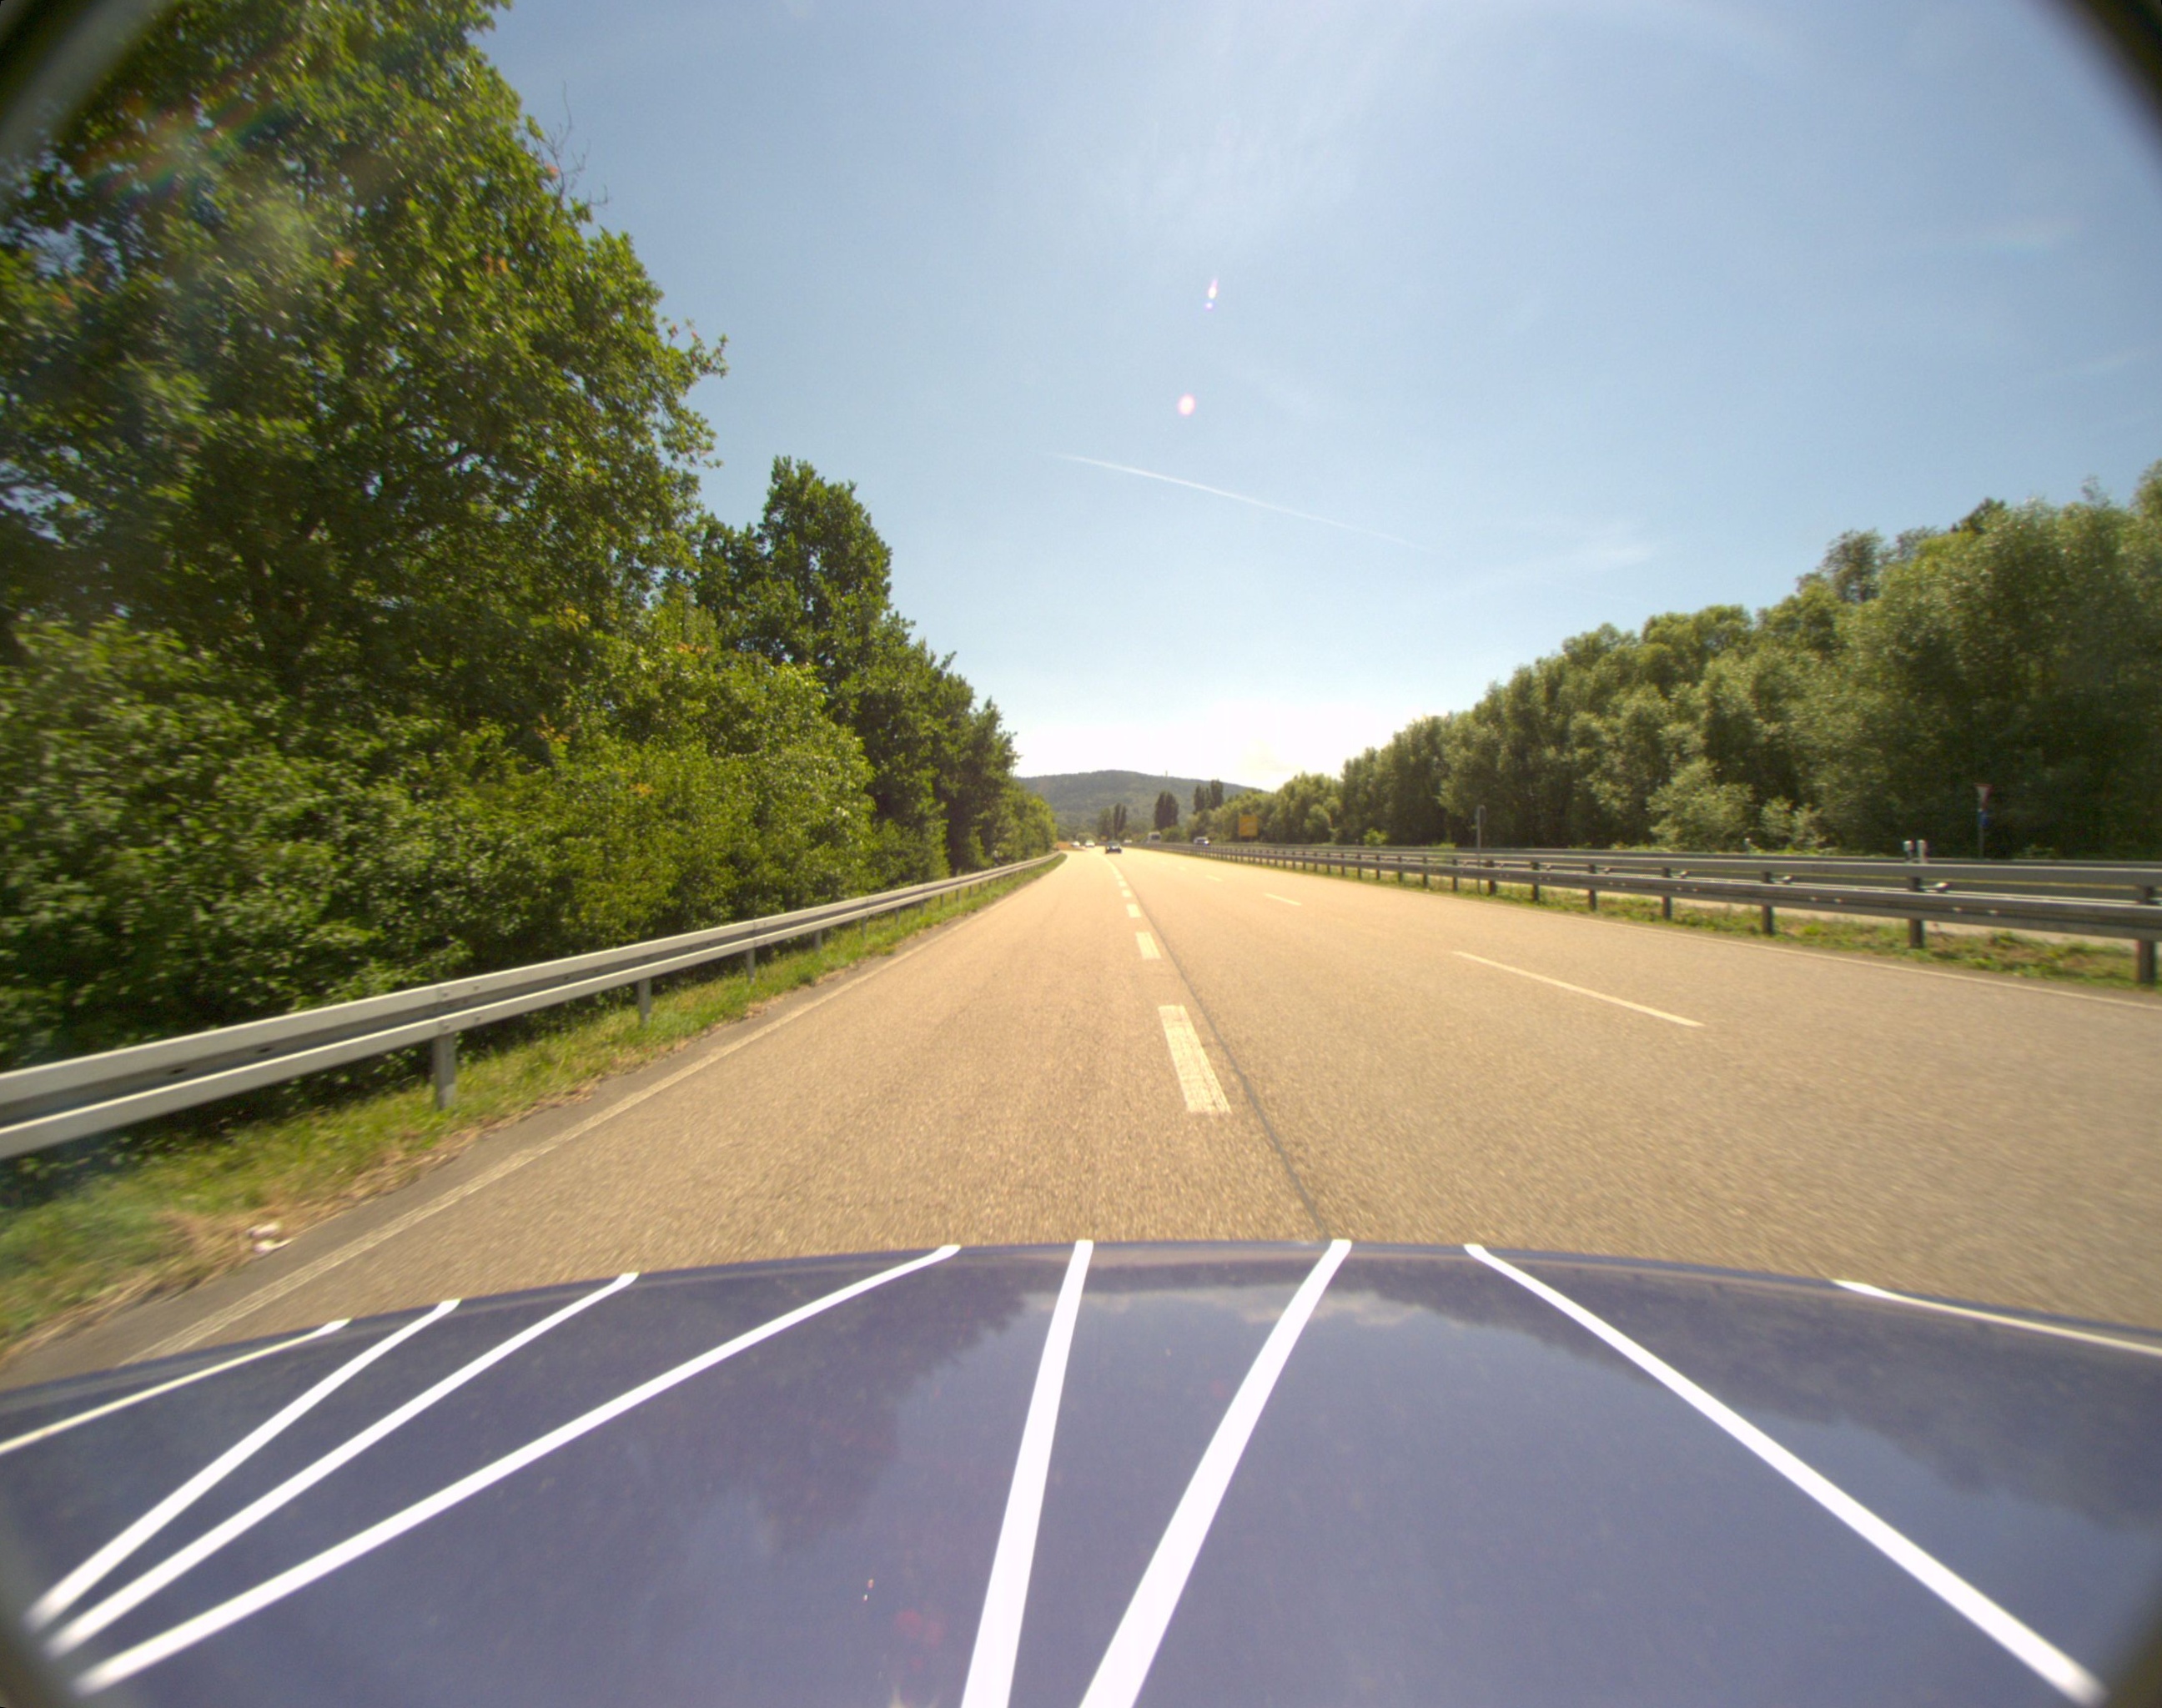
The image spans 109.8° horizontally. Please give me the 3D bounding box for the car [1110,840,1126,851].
[{"bbox_3d":[4.640,-1.070,95.843,1.908,1.368,3.890,-2,1,1],"label":"car"}]

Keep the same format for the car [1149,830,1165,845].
[{"bbox_3d":[13.645,-3.011,136.708,2.107,2.668,6.626,-2,1,1],"label":"car"}]

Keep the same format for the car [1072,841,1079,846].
[{"bbox_3d":[-1.461,-2.876,208.641,1.658,1.536,3.691,-2,1,3],"label":"car"}]

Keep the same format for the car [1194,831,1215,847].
[{"bbox_3d":[14.844,-1.772,91.680,1.867,1.820,4.659,-2,1,1],"label":"car"}]

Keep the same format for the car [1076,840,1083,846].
[{"bbox_3d":[-0.519,-3.346,227.146,1.658,1.536,3.691,-2,1,5],"label":"car"}]

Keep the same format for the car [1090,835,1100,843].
[{"bbox_3d":[2.926,-3.040,157.381,1.998,1.630,4.000,-1,0,3],"label":"car"}]

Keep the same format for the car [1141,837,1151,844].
[{"bbox_3d":[14.945,-3.164,174.426,1.693,1.543,4.072,-2,1,-3],"label":"car"}]
